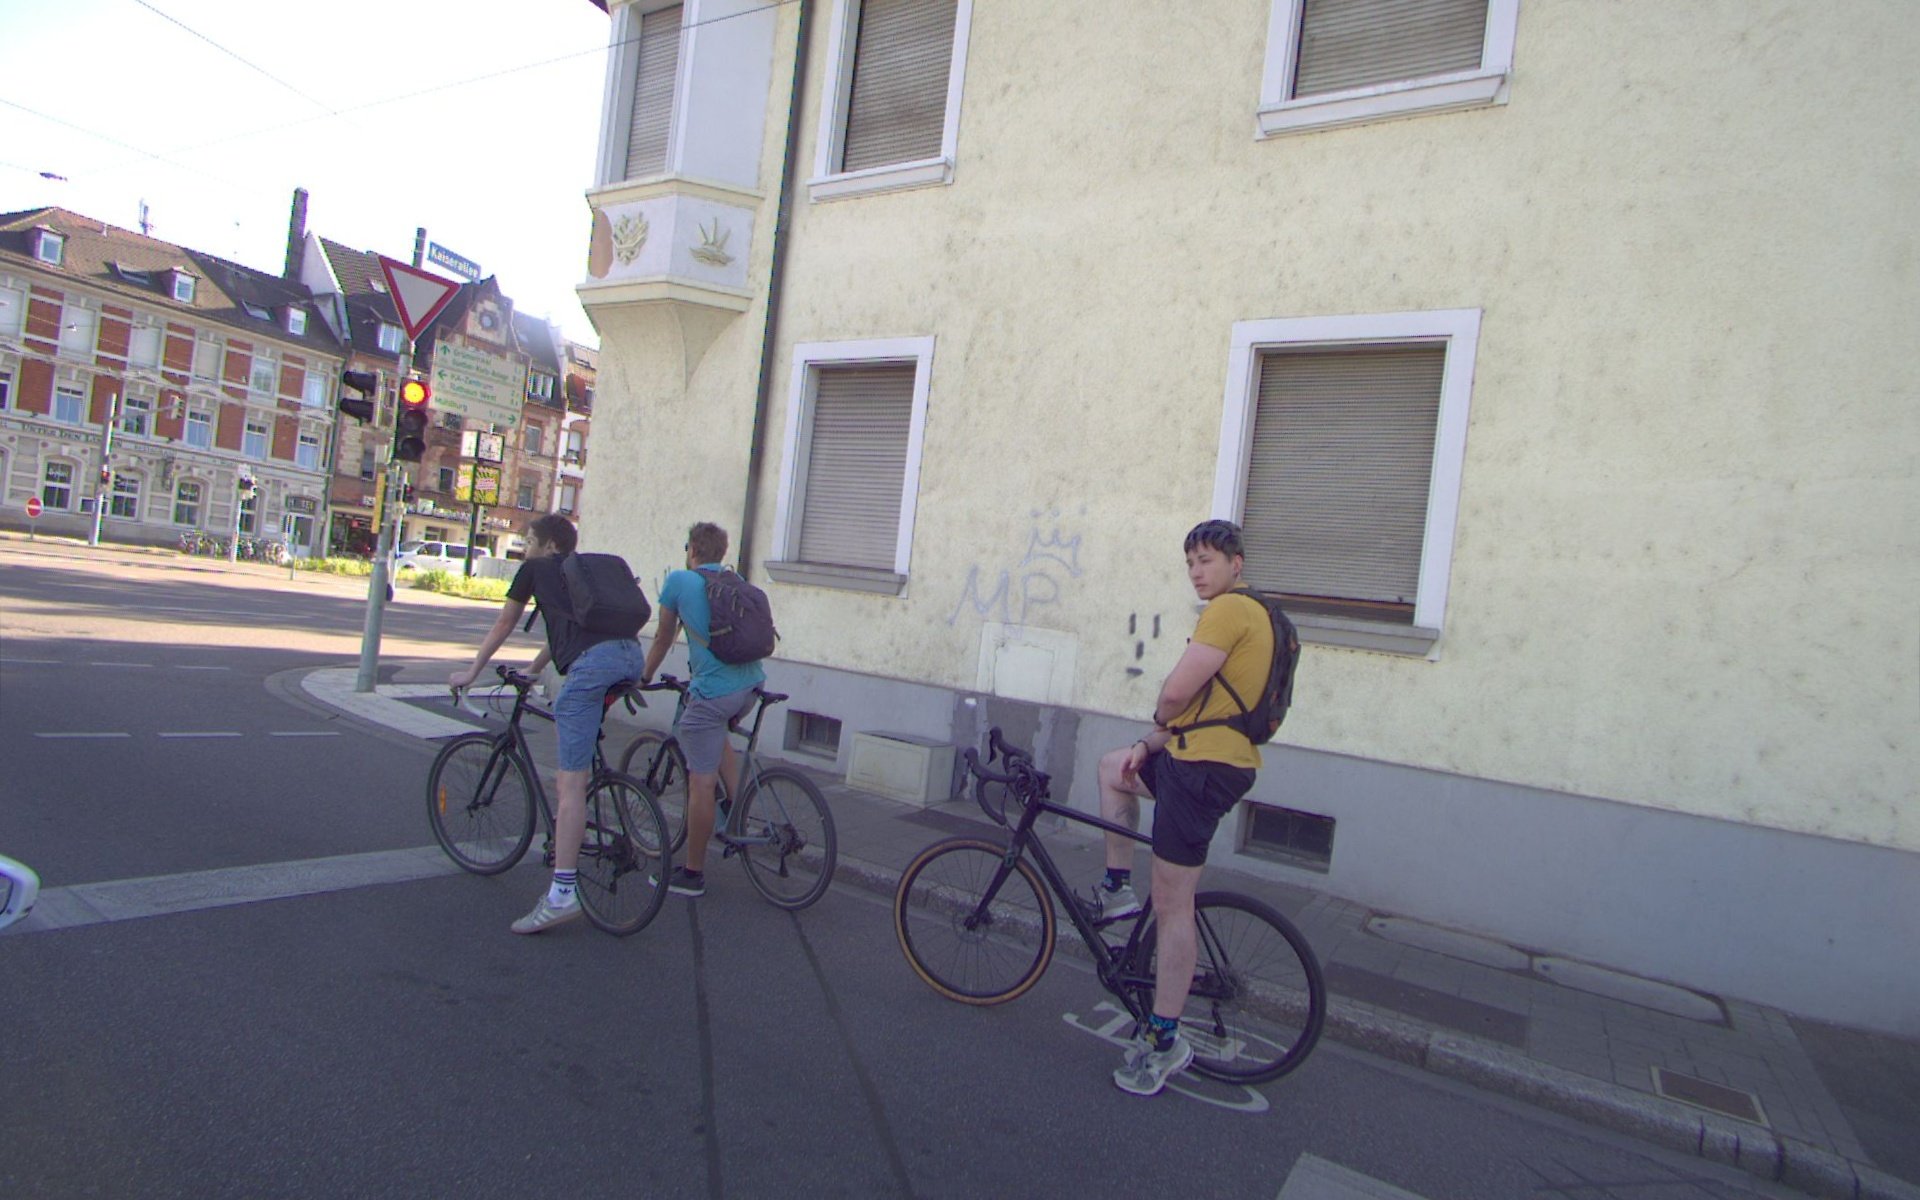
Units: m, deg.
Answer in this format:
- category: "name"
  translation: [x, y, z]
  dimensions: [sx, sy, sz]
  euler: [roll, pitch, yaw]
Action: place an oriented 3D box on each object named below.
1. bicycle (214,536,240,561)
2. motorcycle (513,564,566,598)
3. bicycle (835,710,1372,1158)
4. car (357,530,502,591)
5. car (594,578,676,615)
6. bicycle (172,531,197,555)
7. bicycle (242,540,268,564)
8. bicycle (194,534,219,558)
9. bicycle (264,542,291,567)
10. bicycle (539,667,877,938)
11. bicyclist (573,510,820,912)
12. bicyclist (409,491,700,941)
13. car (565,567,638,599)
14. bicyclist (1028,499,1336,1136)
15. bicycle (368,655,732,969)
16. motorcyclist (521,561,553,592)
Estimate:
- category: "bicycle"
  translation: [-34.255, -2.414, 47.015]
  dimensions: [0.762, 0.995, 2.186]
  euler: [8, -2, -39]
- category: "motorcycle"
  translation: [-20.313, -0.897, 48.667]
  dimensions: [0.784, 1.349, 2.137]
  euler: [6, -2, 36]
- category: "bicycle"
  translation: [0.535, 1.120, 3.801]
  dimensions: [1.709, 1.119, 0.783]
  euler: [7, -1, 18]
- category: "car"
  translation: [-23.229, -1.682, 44.270]
  dimensions: [1.967, 1.876, 5.206]
  euler: [7, -1, 33]
- category: "car"
  translation: [-17.125, -0.164, 53.144]
  dimensions: [1.569, 1.443, 3.876]
  euler: [7, -1, 32]
- category: "bicycle"
  translation: [-35.354, -2.606, 45.868]
  dimensions: [0.762, 0.974, 2.186]
  euler: [8, -2, -39]
- category: "bicycle"
  translation: [-33.582, -2.301, 47.932]
  dimensions: [0.762, 1.019, 2.196]
  euler: [8, -2, -39]
- category: "bicycle"
  translation: [-34.752, -2.505, 46.392]
  dimensions: [0.762, 0.979, 2.186]
  euler: [8, -2, -39]
- category: "bicycle"
  translation: [-33.004, -2.199, 48.604]
  dimensions: [0.789, 1.027, 2.186]
  euler: [8, -2, -39]
- category: "bicycle"
  translation: [-1.336, 0.960, 5.168]
  dimensions: [1.753, 0.995, 0.504]
  euler: [6, -1, 32]
- category: "bicyclist"
  translation: [-1.372, 0.524, 5.225]
  dimensions: [0.960, 1.868, 0.504]
  euler: [6, -1, 32]
- category: "bicyclist"
  translation: [-1.826, 0.466, 4.536]
  dimensions: [0.920, 1.787, 0.590]
  euler: [6, -1, 32]
- category: "car"
  translation: [-23.158, -1.091, 65.108]
  dimensions: [1.842, 1.454, 3.985]
  euler: [6, -2, 35]
- category: "bicyclist"
  translation: [0.837, 0.712, 3.720]
  dimensions: [0.763, 1.990, 0.783]
  euler: [7, 0, 18]
- category: "bicycle"
  translation: [-1.895, 0.864, 4.545]
  dimensions: [1.753, 1.003, 0.482]
  euler: [6, -1, 32]
- category: "motorcyclist"
  translation: [-20.402, -1.145, 48.509]
  dimensions: [0.777, 1.315, 1.015]
  euler: [6, -2, 36]
